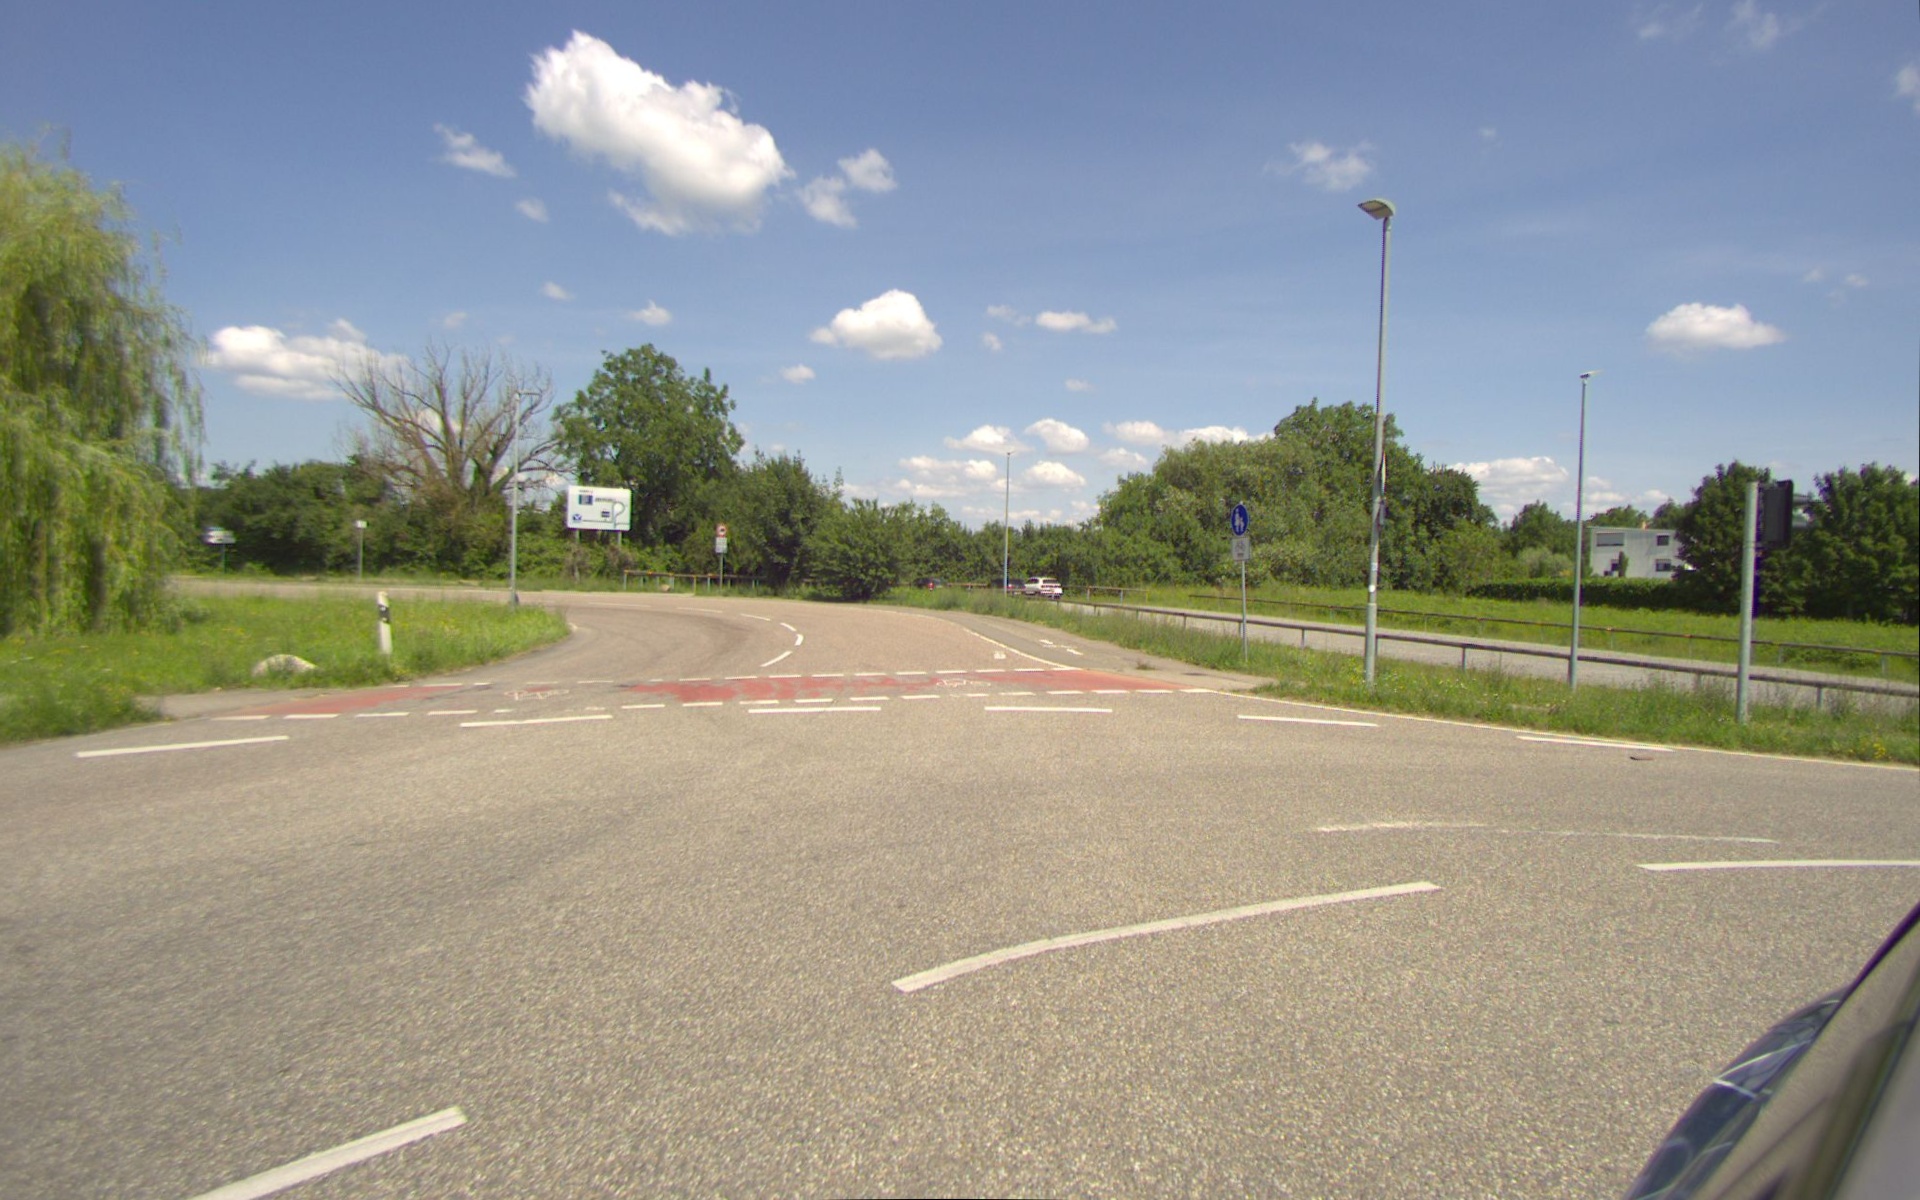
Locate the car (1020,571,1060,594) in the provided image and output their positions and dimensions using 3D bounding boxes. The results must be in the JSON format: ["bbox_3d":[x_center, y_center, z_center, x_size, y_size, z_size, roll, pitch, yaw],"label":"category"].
[{"bbox_3d":[5.351,-1.177,68.107,1.389,1.523,3.124,0,1,-23],"label":"car"}]

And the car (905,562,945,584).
[{"bbox_3d":[-2.253,-1.713,64.844,1.389,1.354,3.123,0,1,-26],"label":"car"}]

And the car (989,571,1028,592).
[{"bbox_3d":[3.176,-1.214,66.679,1.389,1.354,3.124,0,1,-22],"label":"car"}]
